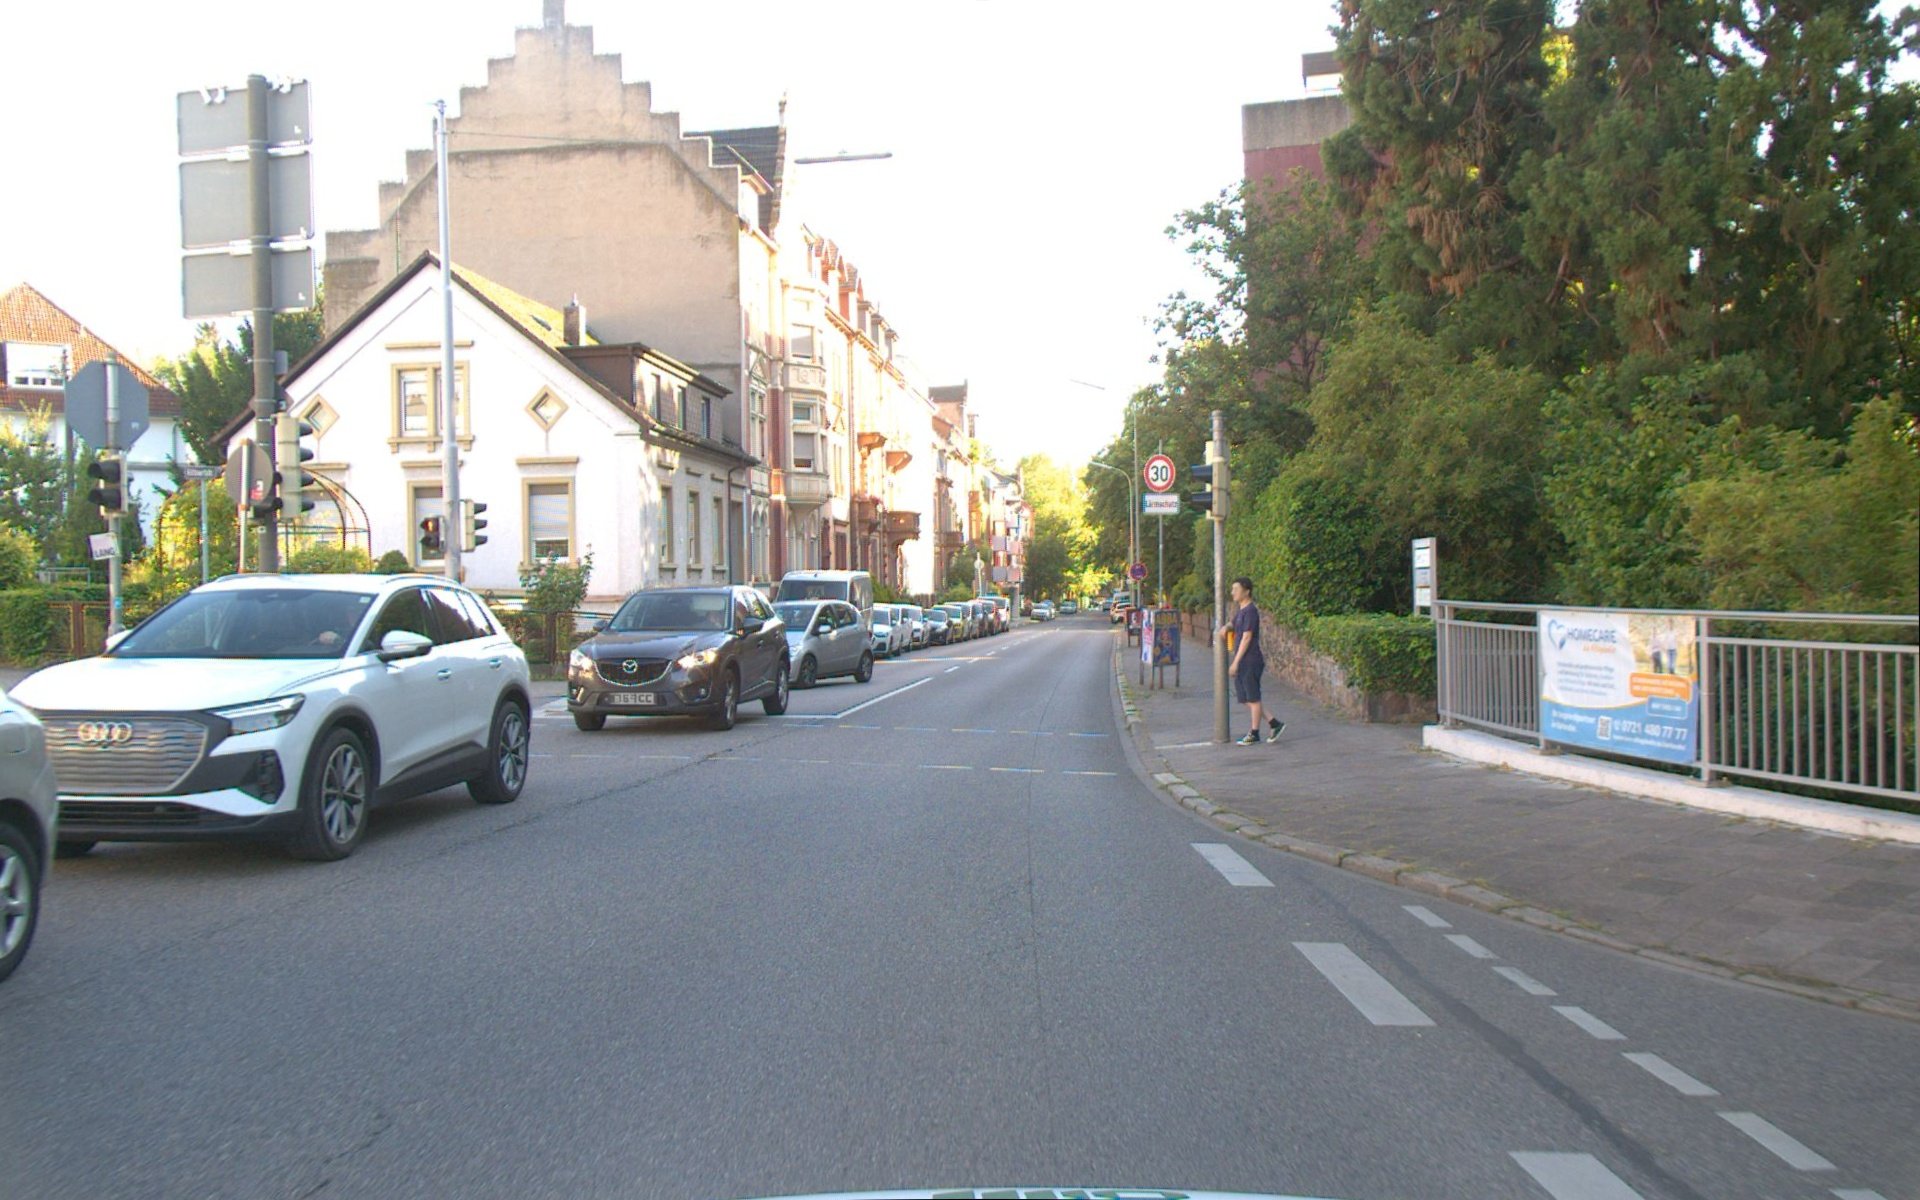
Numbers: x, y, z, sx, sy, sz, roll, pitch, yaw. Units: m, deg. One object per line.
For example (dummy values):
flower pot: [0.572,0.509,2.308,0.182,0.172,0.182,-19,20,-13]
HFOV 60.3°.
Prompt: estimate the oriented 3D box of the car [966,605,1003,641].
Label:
car: [1.274,1.155,84.118,1.666,1.769,3.859,0,0,4]

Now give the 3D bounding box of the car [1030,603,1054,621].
car: [7.750,1.138,155.804,1.951,1.517,4.473,-2,1,5]

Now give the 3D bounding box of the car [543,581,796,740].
car: [-3.345,0.619,19.939,1.912,1.677,4.286,0,1,6]

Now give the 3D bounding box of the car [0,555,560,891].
car: [-4.102,0.577,10.587,1.738,1.677,4.537,0,1,3]

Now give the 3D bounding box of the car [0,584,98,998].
car: [-4.347,0.719,4.668,1.739,1.506,4.096,0,1,-1]

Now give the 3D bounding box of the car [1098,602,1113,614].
car: [20.980,1.159,238.046,1.952,1.517,4.472,-2,1,2]

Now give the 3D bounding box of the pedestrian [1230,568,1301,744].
pedestrian: [3.073,0.549,16.681,0.589,1.722,0.612,-2,0,4]

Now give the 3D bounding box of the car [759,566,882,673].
car: [-3.432,0.461,41.939,2.024,2.503,6.018,0,0,6]

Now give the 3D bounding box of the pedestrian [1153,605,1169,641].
pedestrian: [8.049,0.931,66.236,0.585,1.427,0.668,0,1,4]

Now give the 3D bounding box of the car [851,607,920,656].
car: [-2.400,1.005,54.203,1.666,1.529,4.023,0,0,6]

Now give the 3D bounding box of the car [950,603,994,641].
car: [0.605,1.027,78.941,1.666,1.737,4.443,0,0,6]

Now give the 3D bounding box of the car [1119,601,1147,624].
car: [12.833,0.915,122.475,1.951,1.544,4.003,-2,1,7]

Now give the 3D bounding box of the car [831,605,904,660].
car: [-2.680,0.913,48.623,1.666,1.529,3.825,0,0,4]

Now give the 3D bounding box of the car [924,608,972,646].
car: [-0.480,1.128,68.944,1.666,1.529,4.074,0,-1,4]

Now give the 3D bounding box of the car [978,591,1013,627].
car: [2.038,0.500,94.643,1.755,2.045,4.700,0,0,4]

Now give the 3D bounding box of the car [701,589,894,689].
car: [-2.912,0.648,30.654,1.913,1.677,4.284,1,1,20]

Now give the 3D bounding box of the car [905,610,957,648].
car: [-1.092,1.094,63.898,1.666,1.390,3.862,0,0,4]

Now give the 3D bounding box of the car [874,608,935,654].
car: [-1.925,1.068,58.714,1.666,1.563,4.551,0,0,4]

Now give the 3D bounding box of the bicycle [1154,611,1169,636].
bicycle: [8.003,0.937,65.616,0.554,0.987,0.492,0,1,3]

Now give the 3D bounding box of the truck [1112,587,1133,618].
truck: [16.033,0.258,163.663,1.951,2.947,4.473,-2,1,5]

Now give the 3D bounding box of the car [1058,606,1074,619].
car: [14.299,1.643,222.069,1.951,1.517,4.473,-2,1,5]
